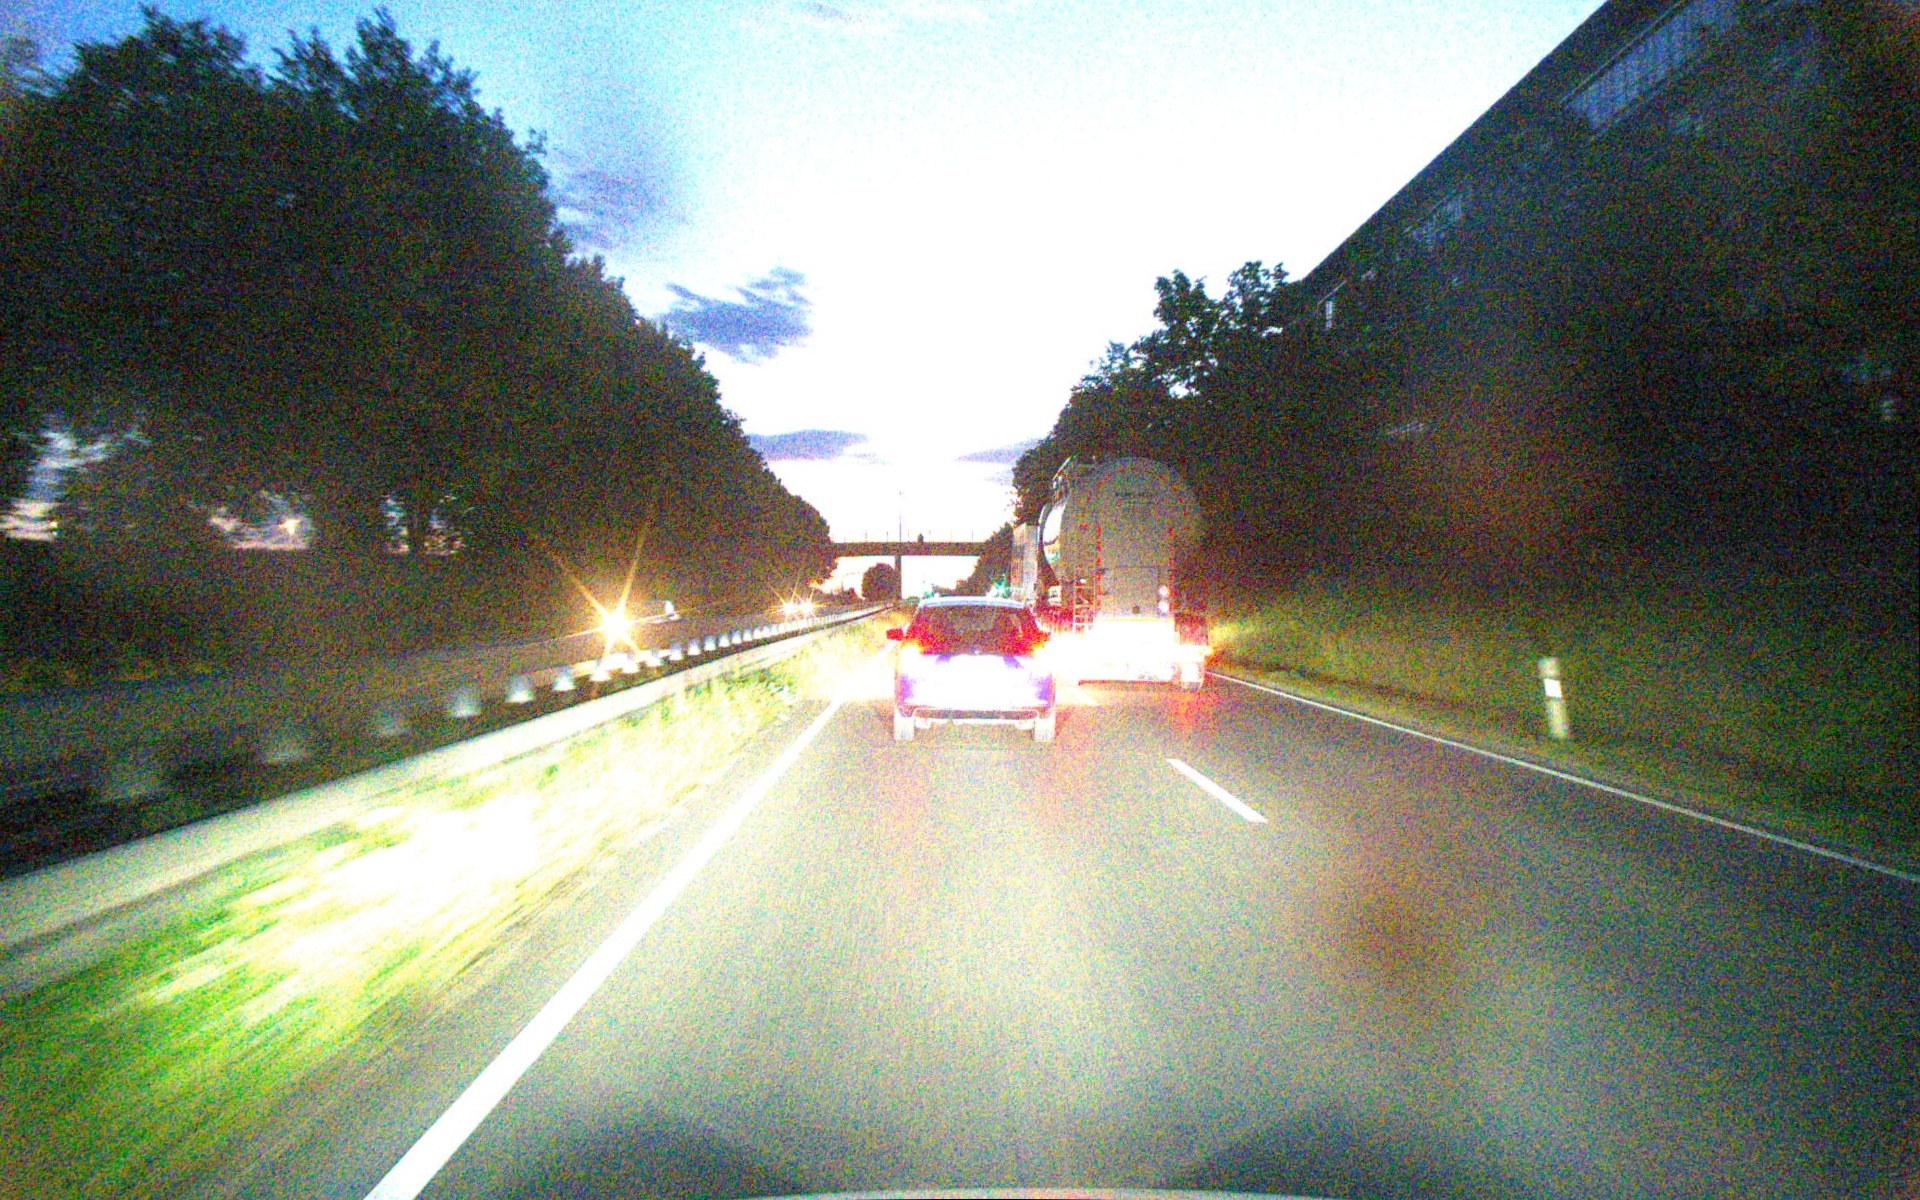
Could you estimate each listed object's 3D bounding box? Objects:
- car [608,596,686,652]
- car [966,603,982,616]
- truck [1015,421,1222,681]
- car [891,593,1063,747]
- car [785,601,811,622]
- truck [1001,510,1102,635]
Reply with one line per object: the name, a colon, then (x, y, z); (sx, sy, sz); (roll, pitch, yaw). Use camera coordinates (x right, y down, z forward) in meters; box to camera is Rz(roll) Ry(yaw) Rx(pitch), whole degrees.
car: (-9.589, 0.701, 50.964); (1.648, 1.615, 4.166); (1, 0, -1)
car: (1.493, 1.056, 182.728); (1.661, 1.478, 3.913); (1, 0, -1)
truck: (2.799, -0.761, 33.418); (2.633, 4.178, 13.138); (1, 0, -1)
car: (0.133, 0.694, 18.060); (1.661, 1.478, 3.913); (1, 0, -1)
car: (-11.920, 0.833, 121.865); (1.584, 1.533, 3.868); (1, 0, -1)
truck: (3.252, -0.889, 62.164); (2.824, 4.178, 12.680); (1, 0, -1)
